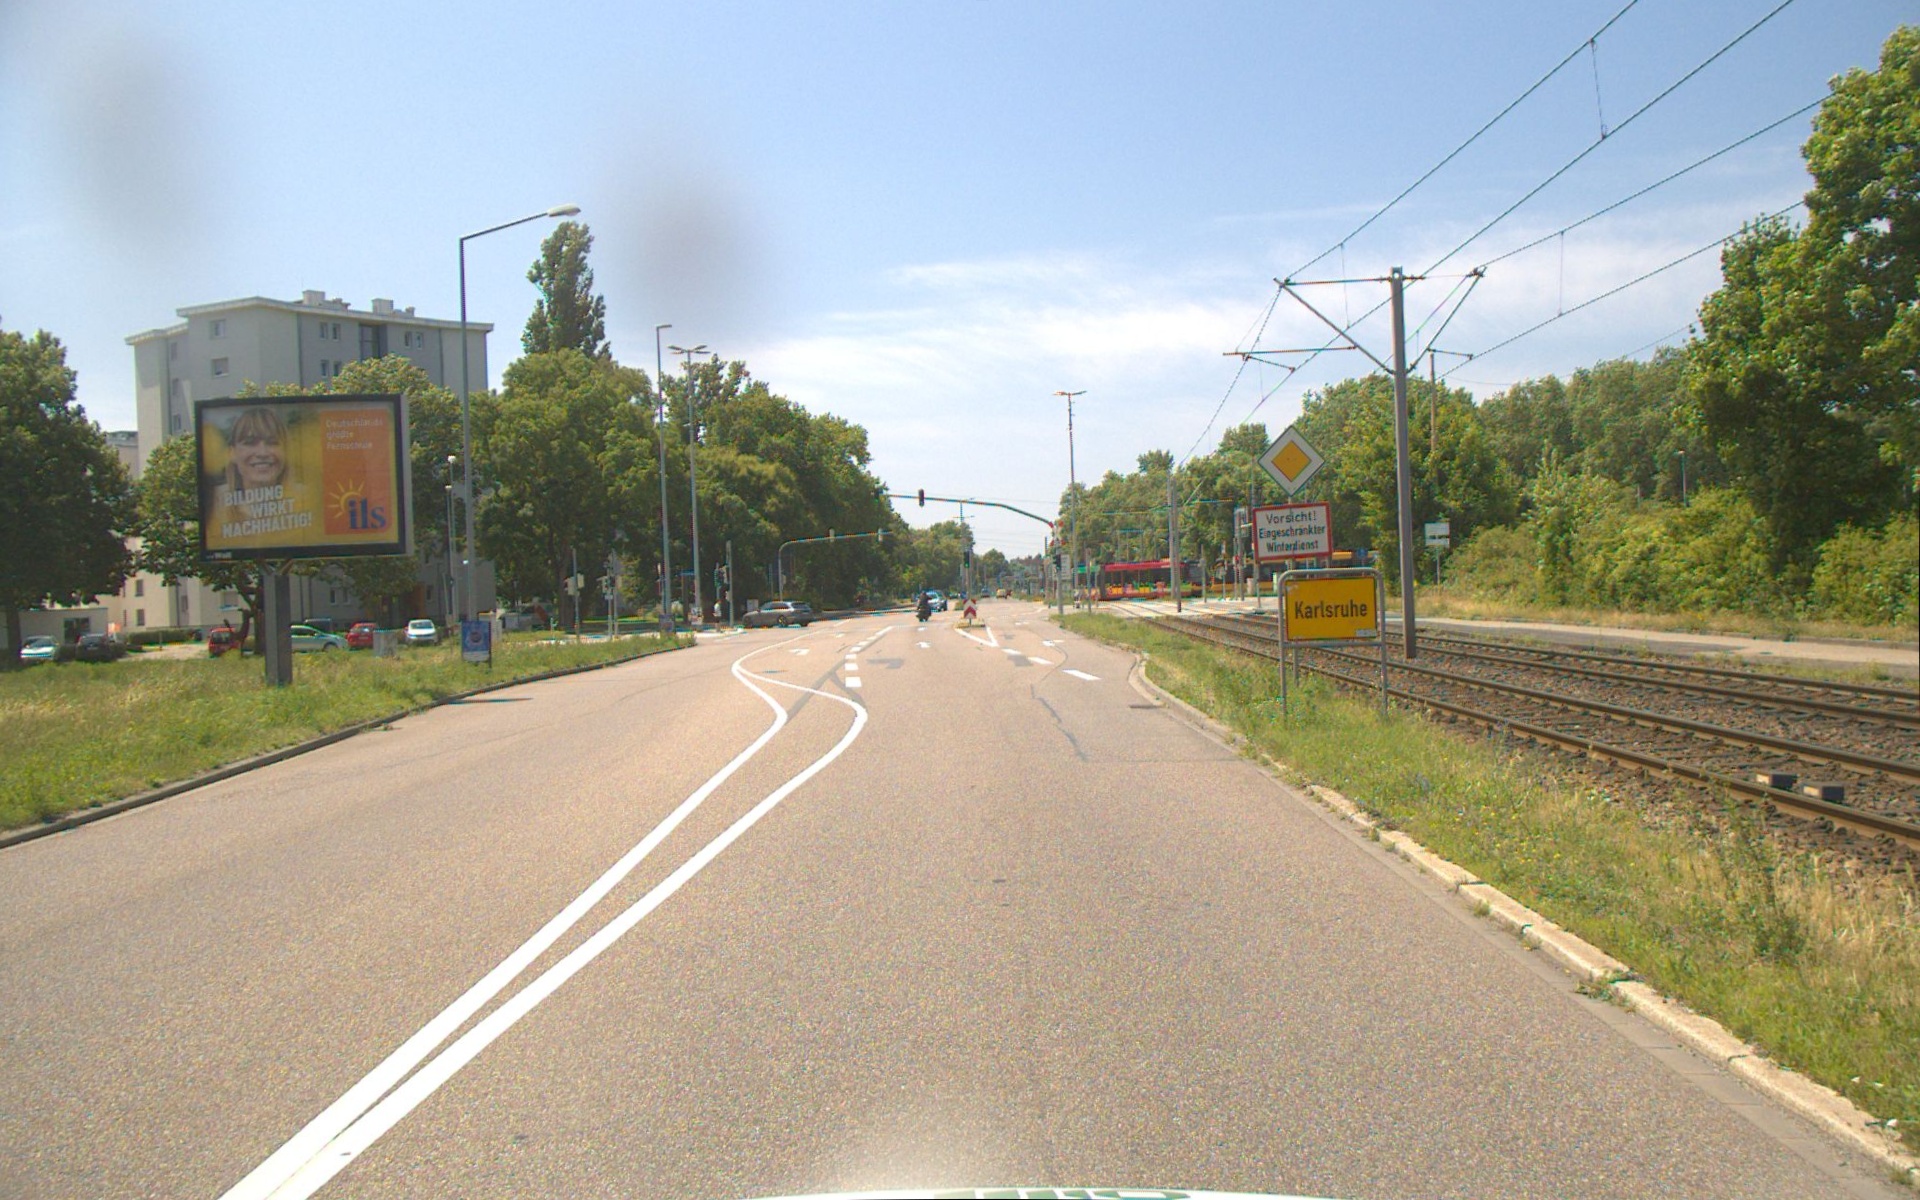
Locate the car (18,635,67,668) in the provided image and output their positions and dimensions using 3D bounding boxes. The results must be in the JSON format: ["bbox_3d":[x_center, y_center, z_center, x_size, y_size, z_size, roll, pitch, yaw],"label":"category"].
[{"bbox_3d":[-48.684,2.735,87.855,1.664,1.589,3.814,-3,0,-21],"label":"car"}]

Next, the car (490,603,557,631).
[{"bbox_3d":[-31.715,1.231,120.230,1.759,1.798,4.524,-2,0,41],"label":"car"}]

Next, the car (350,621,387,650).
[{"bbox_3d":[-33.494,2.003,93.748,1.591,1.489,3.984,-2,0,-15],"label":"car"}]

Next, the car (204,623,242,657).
[{"bbox_3d":[-40.712,2.202,91.412,1.822,1.697,3.970,-3,0,-24],"label":"car"}]

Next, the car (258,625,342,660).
[{"bbox_3d":[-33.152,2.115,83.056,3.834,1.494,1.762,-3,0,-24],"label":"car"}]

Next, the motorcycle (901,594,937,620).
[{"bbox_3d":[-2.090,0.344,84.929,0.830,1.277,2.448,-2,0,24],"label":"motorcycle"}]

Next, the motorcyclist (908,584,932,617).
[{"bbox_3d":[-2.061,0.039,85.060,0.774,1.671,1.211,-2,0,23],"label":"motorcyclist"}]

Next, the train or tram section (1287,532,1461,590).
[{"bbox_3d":[34.548,-3.174,138.444,13.719,3.988,2.921,-3,-3,25],"label":"train or tram section"}]

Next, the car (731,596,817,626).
[{"bbox_3d":[-10.209,0.607,90.823,4.533,1.525,1.907,-1,0,34],"label":"car"}]

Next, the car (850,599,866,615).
[{"bbox_3d":[-13.453,0.970,218.493,1.953,2.049,3.998,1,0,-2],"label":"car"}]

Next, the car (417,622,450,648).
[{"bbox_3d":[-30.402,2.016,95.460,1.600,1.404,3.976,-2,0,-20],"label":"car"}]

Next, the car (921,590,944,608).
[{"bbox_3d":[-2.257,-0.094,135.290,1.675,1.389,3.866,-3,0,1],"label":"car"}]

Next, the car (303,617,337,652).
[{"bbox_3d":[-35.956,1.928,92.950,1.680,1.832,3.974,-2,0,-21],"label":"car"}]

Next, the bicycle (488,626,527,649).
[{"bbox_3d":[-23.138,1.899,84.548,1.838,1.112,0.642,-2,0,-22],"label":"bicycle"}]

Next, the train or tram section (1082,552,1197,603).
[{"bbox_3d":[16.314,-1.990,151.637,2.888,3.878,12.920,0,-3,-33],"label":"train or tram section"}]

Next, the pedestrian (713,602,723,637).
[{"bbox_3d":[-12.119,0.969,82.823,0.374,1.716,0.485,-2,0,-3],"label":"pedestrian"}]

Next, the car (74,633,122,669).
[{"bbox_3d":[-46.488,2.730,89.302,1.820,1.741,3.974,-2,0,-21],"label":"car"}]

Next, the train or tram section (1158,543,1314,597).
[{"bbox_3d":[23.965,-2.546,143.990,13.164,3.878,2.917,-3,-3,31],"label":"train or tram section"}]

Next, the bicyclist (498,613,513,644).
[{"bbox_3d":[-23.230,1.450,84.508,0.654,1.564,0.627,-2,0,-22],"label":"bicyclist"}]

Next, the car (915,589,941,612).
[{"bbox_3d":[-2.473,-0.003,127.734,1.748,1.657,3.866,-3,0,1],"label":"car"}]
